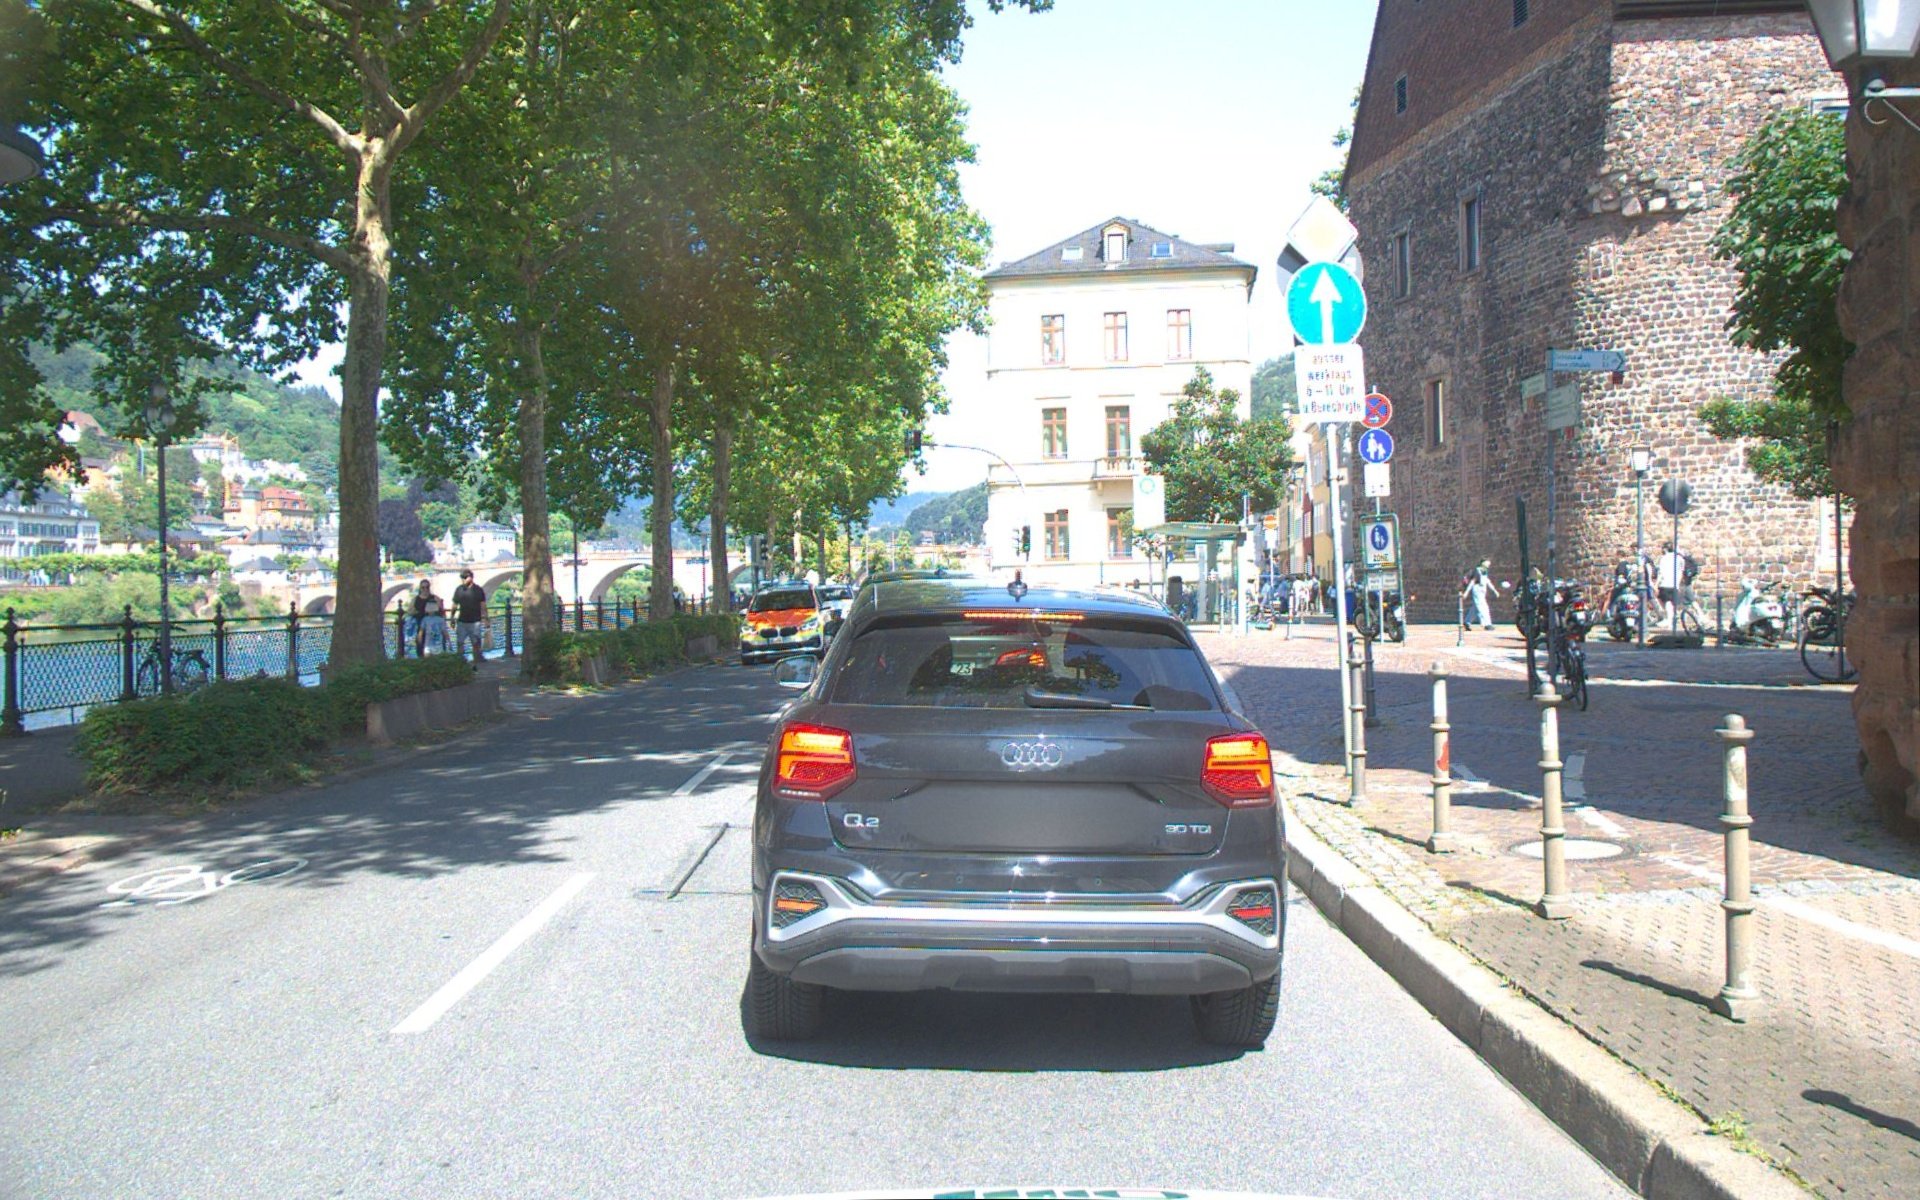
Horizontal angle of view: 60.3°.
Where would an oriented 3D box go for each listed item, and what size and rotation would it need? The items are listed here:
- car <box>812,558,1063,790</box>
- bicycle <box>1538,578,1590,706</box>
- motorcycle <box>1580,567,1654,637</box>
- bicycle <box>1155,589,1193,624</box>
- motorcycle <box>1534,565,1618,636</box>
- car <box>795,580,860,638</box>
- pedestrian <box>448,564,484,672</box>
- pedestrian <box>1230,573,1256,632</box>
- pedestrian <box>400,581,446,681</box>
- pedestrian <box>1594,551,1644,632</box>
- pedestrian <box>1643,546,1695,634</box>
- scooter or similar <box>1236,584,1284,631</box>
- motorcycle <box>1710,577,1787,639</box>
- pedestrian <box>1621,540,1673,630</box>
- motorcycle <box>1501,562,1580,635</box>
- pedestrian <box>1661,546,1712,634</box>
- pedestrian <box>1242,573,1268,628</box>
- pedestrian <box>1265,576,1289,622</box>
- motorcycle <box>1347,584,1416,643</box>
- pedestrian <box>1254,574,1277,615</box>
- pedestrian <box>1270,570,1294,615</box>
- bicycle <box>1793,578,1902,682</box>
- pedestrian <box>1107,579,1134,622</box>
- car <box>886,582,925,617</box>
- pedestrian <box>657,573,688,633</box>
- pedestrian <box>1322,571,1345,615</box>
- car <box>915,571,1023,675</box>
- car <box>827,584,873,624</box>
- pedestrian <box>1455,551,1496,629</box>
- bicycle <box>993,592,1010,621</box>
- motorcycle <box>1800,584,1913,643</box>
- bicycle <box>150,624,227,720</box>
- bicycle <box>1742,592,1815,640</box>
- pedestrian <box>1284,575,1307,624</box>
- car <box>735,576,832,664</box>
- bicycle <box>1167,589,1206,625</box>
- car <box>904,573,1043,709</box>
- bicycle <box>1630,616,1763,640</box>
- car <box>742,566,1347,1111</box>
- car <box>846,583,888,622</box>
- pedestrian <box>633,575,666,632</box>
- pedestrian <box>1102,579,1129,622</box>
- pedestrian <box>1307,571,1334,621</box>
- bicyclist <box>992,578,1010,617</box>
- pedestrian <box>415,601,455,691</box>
[{"bbox_3d":[-0.183,0.515,13.473,1.756,1.623,3.398,1,0,-1],"label":"car"},{"bbox_3d":[6.150,0.394,16.869,0.189,1.225,1.771,0,1,10],"label":"bicycle"},{"bbox_3d":[12.183,0.043,30.723,0.535,1.257,2.030,1,0,-1],"label":"motorcycle"},{"bbox_3d":[6.419,0.211,49.654,1.166,1.033,0.178,1,-1,-20],"label":"bicycle"},{"bbox_3d":[11.373,0.009,30.602,0.661,1.257,2.312,1,0,-1],"label":"motorcycle"},{"bbox_3d":[-4.162,0.268,52.433,1.733,1.689,3.999,-3,0,-1],"label":"car"},{"bbox_3d":[-8.802,0.315,29.490,0.523,1.920,0.436,0,0,-1],"label":"pedestrian"},{"bbox_3d":[9.418,0.090,54.989,0.732,1.923,0.752,1,-1,1],"label":"pedestrian"},{"bbox_3d":[-9.355,0.529,28.841,0.589,1.715,0.583,-1,0,-2],"label":"pedestrian"},{"bbox_3d":[15.005,-0.192,37.654,0.646,1.834,0.837,0,0,-33],"label":"pedestrian"},{"bbox_3d":[15.660,-0.219,36.531,0.659,1.917,0.815,1,-1,-24],"label":"pedestrian"},{"bbox_3d":[7.161,0.177,39.454,1.067,1.084,0.323,1,-1,-3],"label":"scooter or similar"},{"bbox_3d":[14.321,0.143,30.081,0.496,1.092,1.839,1,0,-1],"label":"motorcycle"},{"bbox_3d":[15.916,-0.345,38.310,0.725,2.049,0.865,1,-1,-39],"label":"pedestrian"},{"bbox_3d":[10.556,-0.020,30.158,0.642,1.288,2.199,0,0,-1],"label":"motorcycle"},{"bbox_3d":[16.293,-0.220,37.108,0.661,1.954,0.813,1,-1,-29],"label":"pedestrian"},{"bbox_3d":[7.604,0.009,42.655,0.546,1.409,0.588,1,-1,1],"label":"pedestrian"},{"bbox_3d":[14.232,-0.037,74.249,0.925,2.049,0.807,1,-1,-1],"label":"pedestrian"},{"bbox_3d":[7.695,0.231,30.303,0.555,1.030,2.489,-1,1,-2],"label":"motorcycle"},{"bbox_3d":[11.920,-0.216,64.510,0.760,1.591,0.646,-2,0,4],"label":"pedestrian"},{"bbox_3d":[12.292,-0.287,63.154,0.760,1.649,0.645,-2,0,1],"label":"pedestrian"},{"bbox_3d":[10.602,0.337,19.809,0.437,1.182,1.731,-1,1,3],"label":"bicycle"},{"bbox_3d":[4.684,0.027,48.165,0.651,1.233,0.640,1,-1,-7],"label":"pedestrian"},{"bbox_3d":[-2.942,-0.008,90.440,1.952,1.838,4.000,1,0,1],"label":"car"},{"bbox_3d":[-9.927,0.107,57.092,0.891,2.049,0.586,1,-1,3],"label":"pedestrian"},{"bbox_3d":[14.321,-0.286,63.399,0.677,1.640,0.891,-2,0,22],"label":"pedestrian"},{"bbox_3d":[0.120,0.366,29.406,1.758,1.711,3.999,1,0,-1],"label":"car"},{"bbox_3d":[-4.897,0.150,74.076,1.703,1.599,4.091,-4,1,-1],"label":"car"},{"bbox_3d":[11.453,-0.226,36.752,0.791,1.691,0.656,-1,0,23],"label":"pedestrian"},{"bbox_3d":[1.564,0.247,62.672,0.428,1.105,1.675,1,0,-5],"label":"bicycle"},{"bbox_3d":[16.972,0.251,31.322,1.826,1.072,0.480,1,-1,7],"label":"motorcycle"},{"bbox_3d":[-9.529,0.875,20.461,0.352,1.110,1.295,2,0,-2],"label":"bicycle"},{"bbox_3d":[15.131,0.283,30.621,0.346,0.835,1.926,1,1,-2],"label":"bicycle"},{"bbox_3d":[14.217,-0.038,70.057,0.822,2.049,0.738,1,-1,-1],"label":"pedestrian"},{"bbox_3d":[-3.752,0.397,35.781,1.639,1.689,4.222,-3,0,-1],"label":"car"},{"bbox_3d":[6.731,0.221,49.051,1.184,1.053,0.178,1,-1,-20],"label":"bicycle"},{"bbox_3d":[0.135,0.476,21.778,1.676,1.637,3.654,0,0,-1],"label":"car"},{"bbox_3d":[12.310,0.464,27.709,1.887,0.388,0.918,0,-1,14],"label":"bicycle"},{"bbox_3d":[0.218,0.664,6.558,1.707,1.535,3.646,1,1,-1],"label":"car"},{"bbox_3d":[-4.714,0.086,84.198,1.777,1.754,4.421,-6,1,-1],"label":"car"},{"bbox_3d":[-10.277,0.121,54.768,0.891,1.843,0.586,1,-2,3],"label":"pedestrian"},{"bbox_3d":[4.595,0.003,48.885,0.651,1.253,0.640,1,-1,-7],"label":"pedestrian"},{"bbox_3d":[15.201,-0.168,69.747,0.920,2.049,0.807,1,-1,2],"label":"pedestrian"},{"bbox_3d":[1.567,-0.097,62.695,0.593,1.475,0.590,1,-1,-6],"label":"bicyclist"},{"bbox_3d":[-8.109,0.705,25.548,0.469,1.386,0.417,0,0,3],"label":"pedestrian"}]
